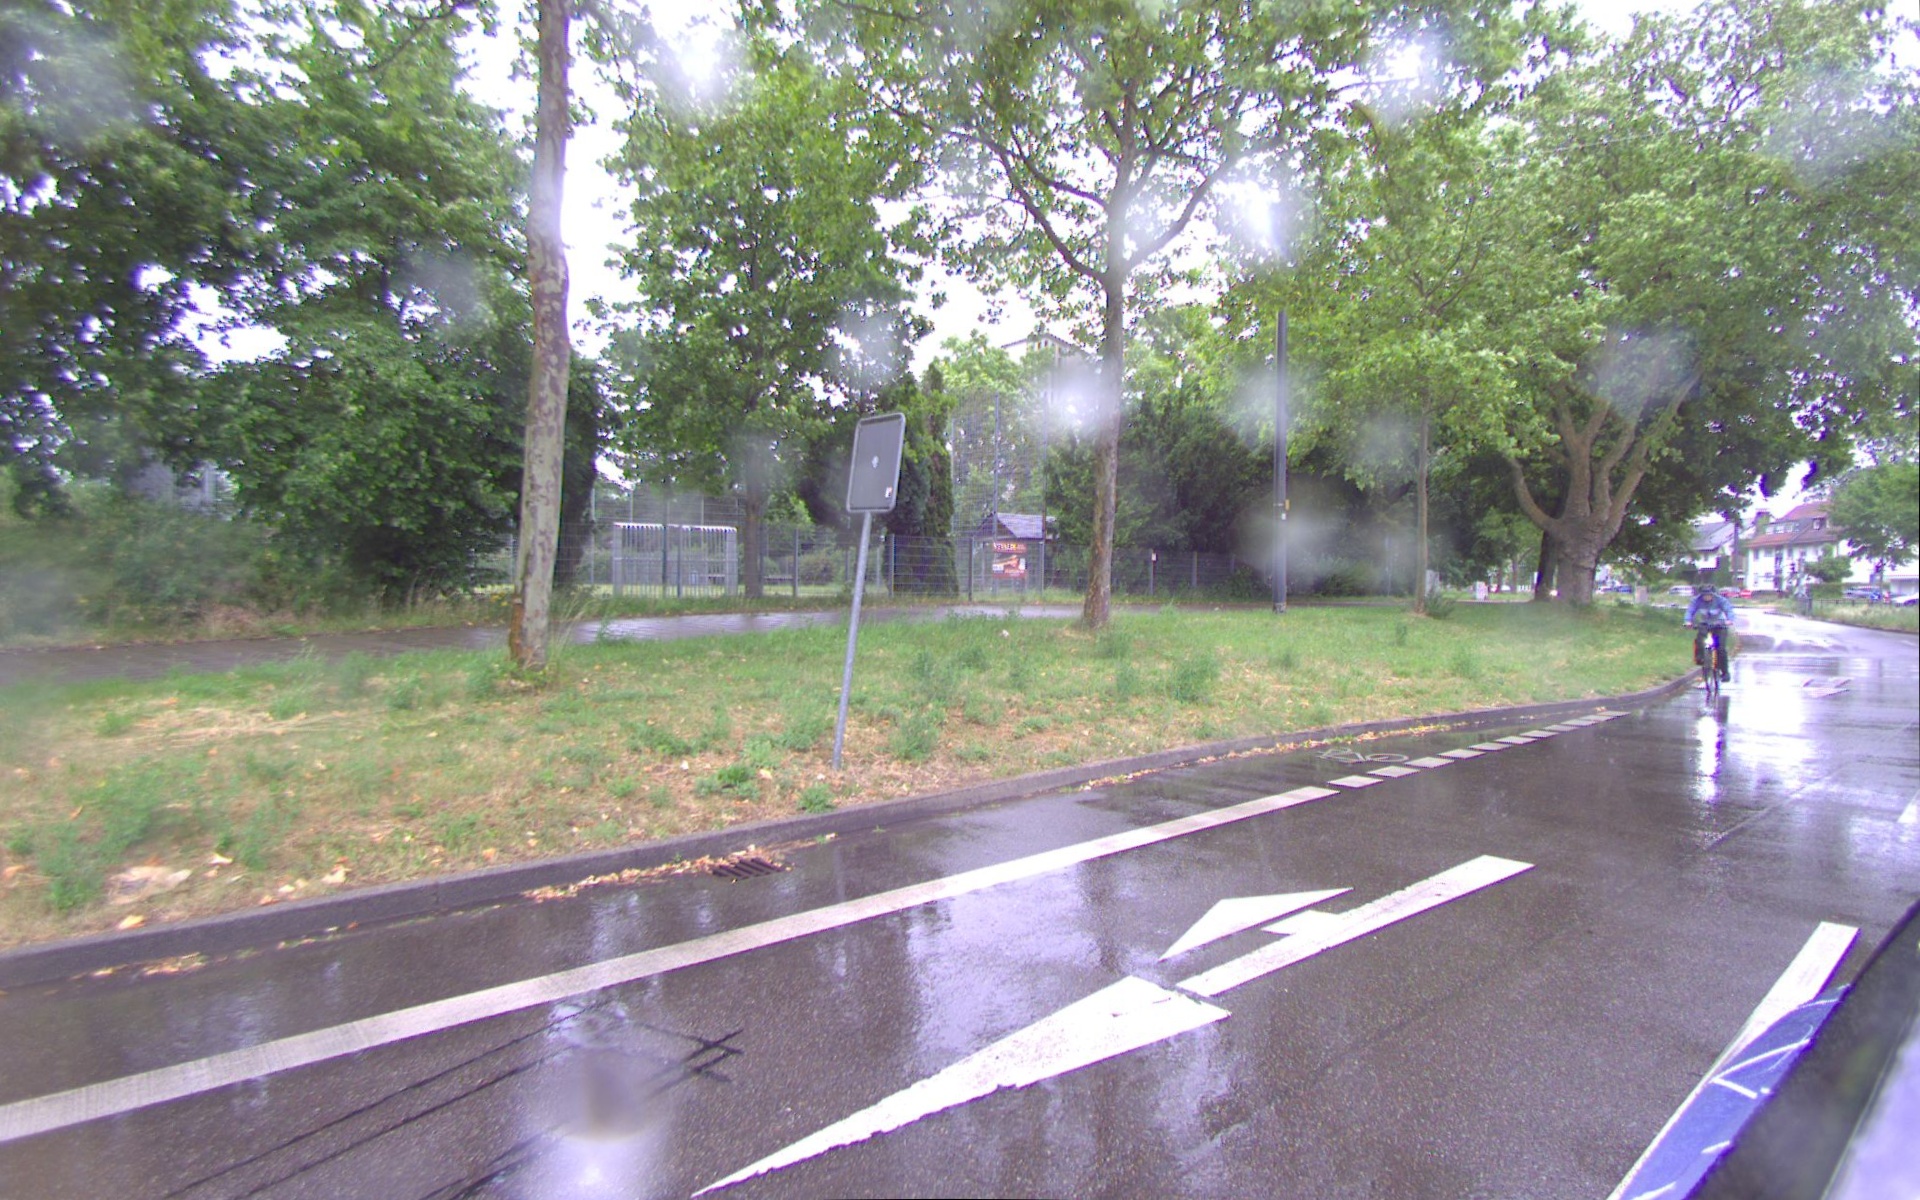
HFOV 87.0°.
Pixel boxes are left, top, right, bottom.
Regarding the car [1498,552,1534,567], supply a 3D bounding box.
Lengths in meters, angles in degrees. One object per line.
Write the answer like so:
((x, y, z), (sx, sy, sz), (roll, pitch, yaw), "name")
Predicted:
((73.656, -5.316, 134.065), (3.958, 1.850, 1.983), (0, 0, 25), "car")

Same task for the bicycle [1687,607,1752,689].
((11.625, 0.692, 15.470), (0.690, 1.131, 1.858), (0, 1, 40), "bicycle")

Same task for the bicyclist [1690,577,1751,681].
((11.623, 0.417, 15.464), (0.690, 1.525, 0.832), (0, 1, 40), "bicyclist")

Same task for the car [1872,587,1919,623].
((39.347, 0.185, 40.584), (4.025, 1.438, 1.652), (0, 0, 39), "car")
